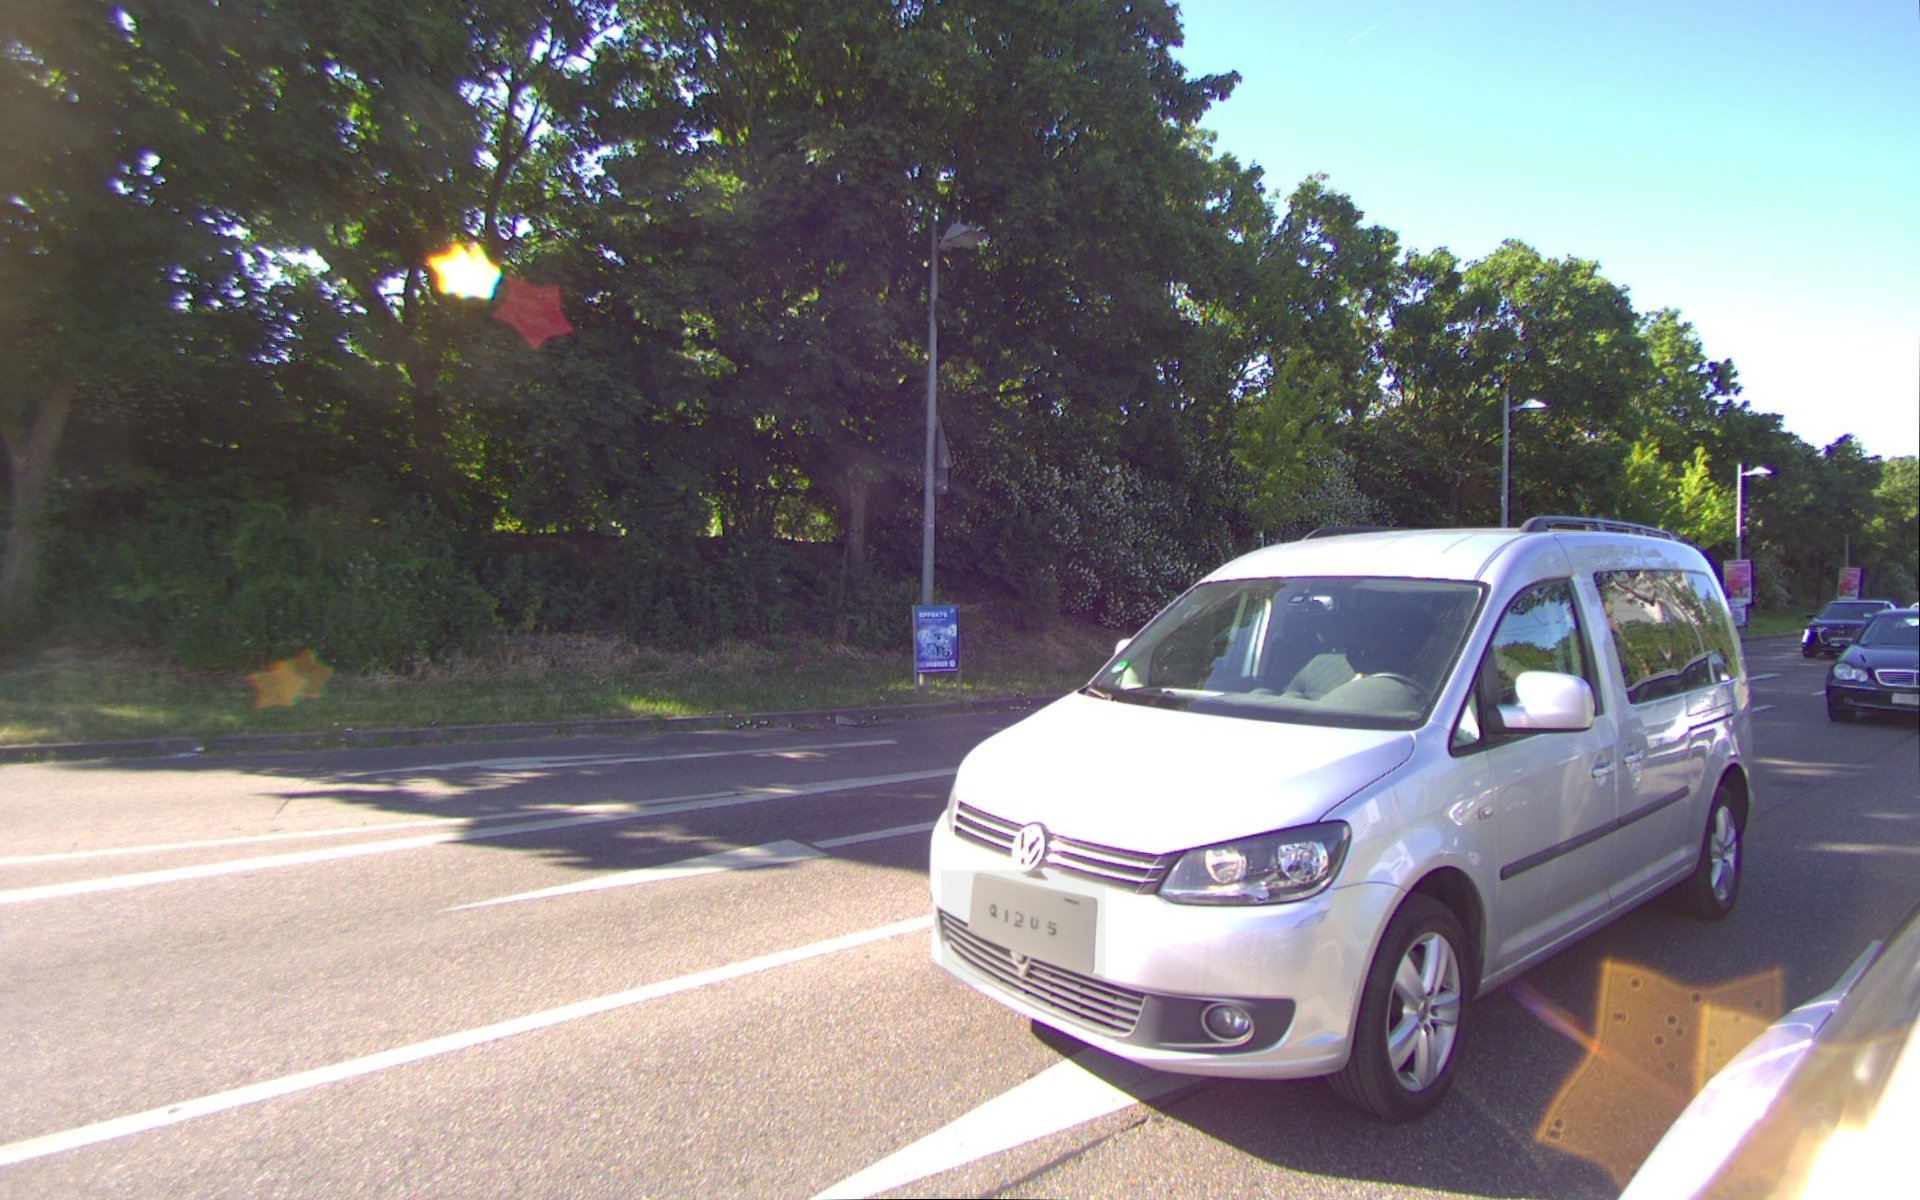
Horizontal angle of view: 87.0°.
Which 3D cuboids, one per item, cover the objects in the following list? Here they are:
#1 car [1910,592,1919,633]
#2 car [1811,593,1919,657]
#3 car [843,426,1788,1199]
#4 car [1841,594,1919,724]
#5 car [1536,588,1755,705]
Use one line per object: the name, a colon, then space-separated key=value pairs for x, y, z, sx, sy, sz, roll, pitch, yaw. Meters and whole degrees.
car: x=35.952 y=0.438 z=36.669 sx=4.309 sy=1.454 sz=1.748 roll=-1 pitch=1 yaw=-40
car: x=23.672 y=0.597 z=26.362 sx=3.894 sy=1.512 sz=1.713 roll=0 pitch=1 yaw=-40
car: x=1.879 y=0.489 z=4.437 sx=4.504 sy=1.844 sz=1.809 roll=-1 pitch=1 yaw=-39
car: x=12.696 y=0.693 z=12.926 sx=4.126 sy=1.472 sz=1.715 roll=0 pitch=1 yaw=-43
car: x=10.438 y=0.609 z=15.307 sx=4.064 sy=1.536 sz=1.725 roll=0 pitch=0 yaw=-40
